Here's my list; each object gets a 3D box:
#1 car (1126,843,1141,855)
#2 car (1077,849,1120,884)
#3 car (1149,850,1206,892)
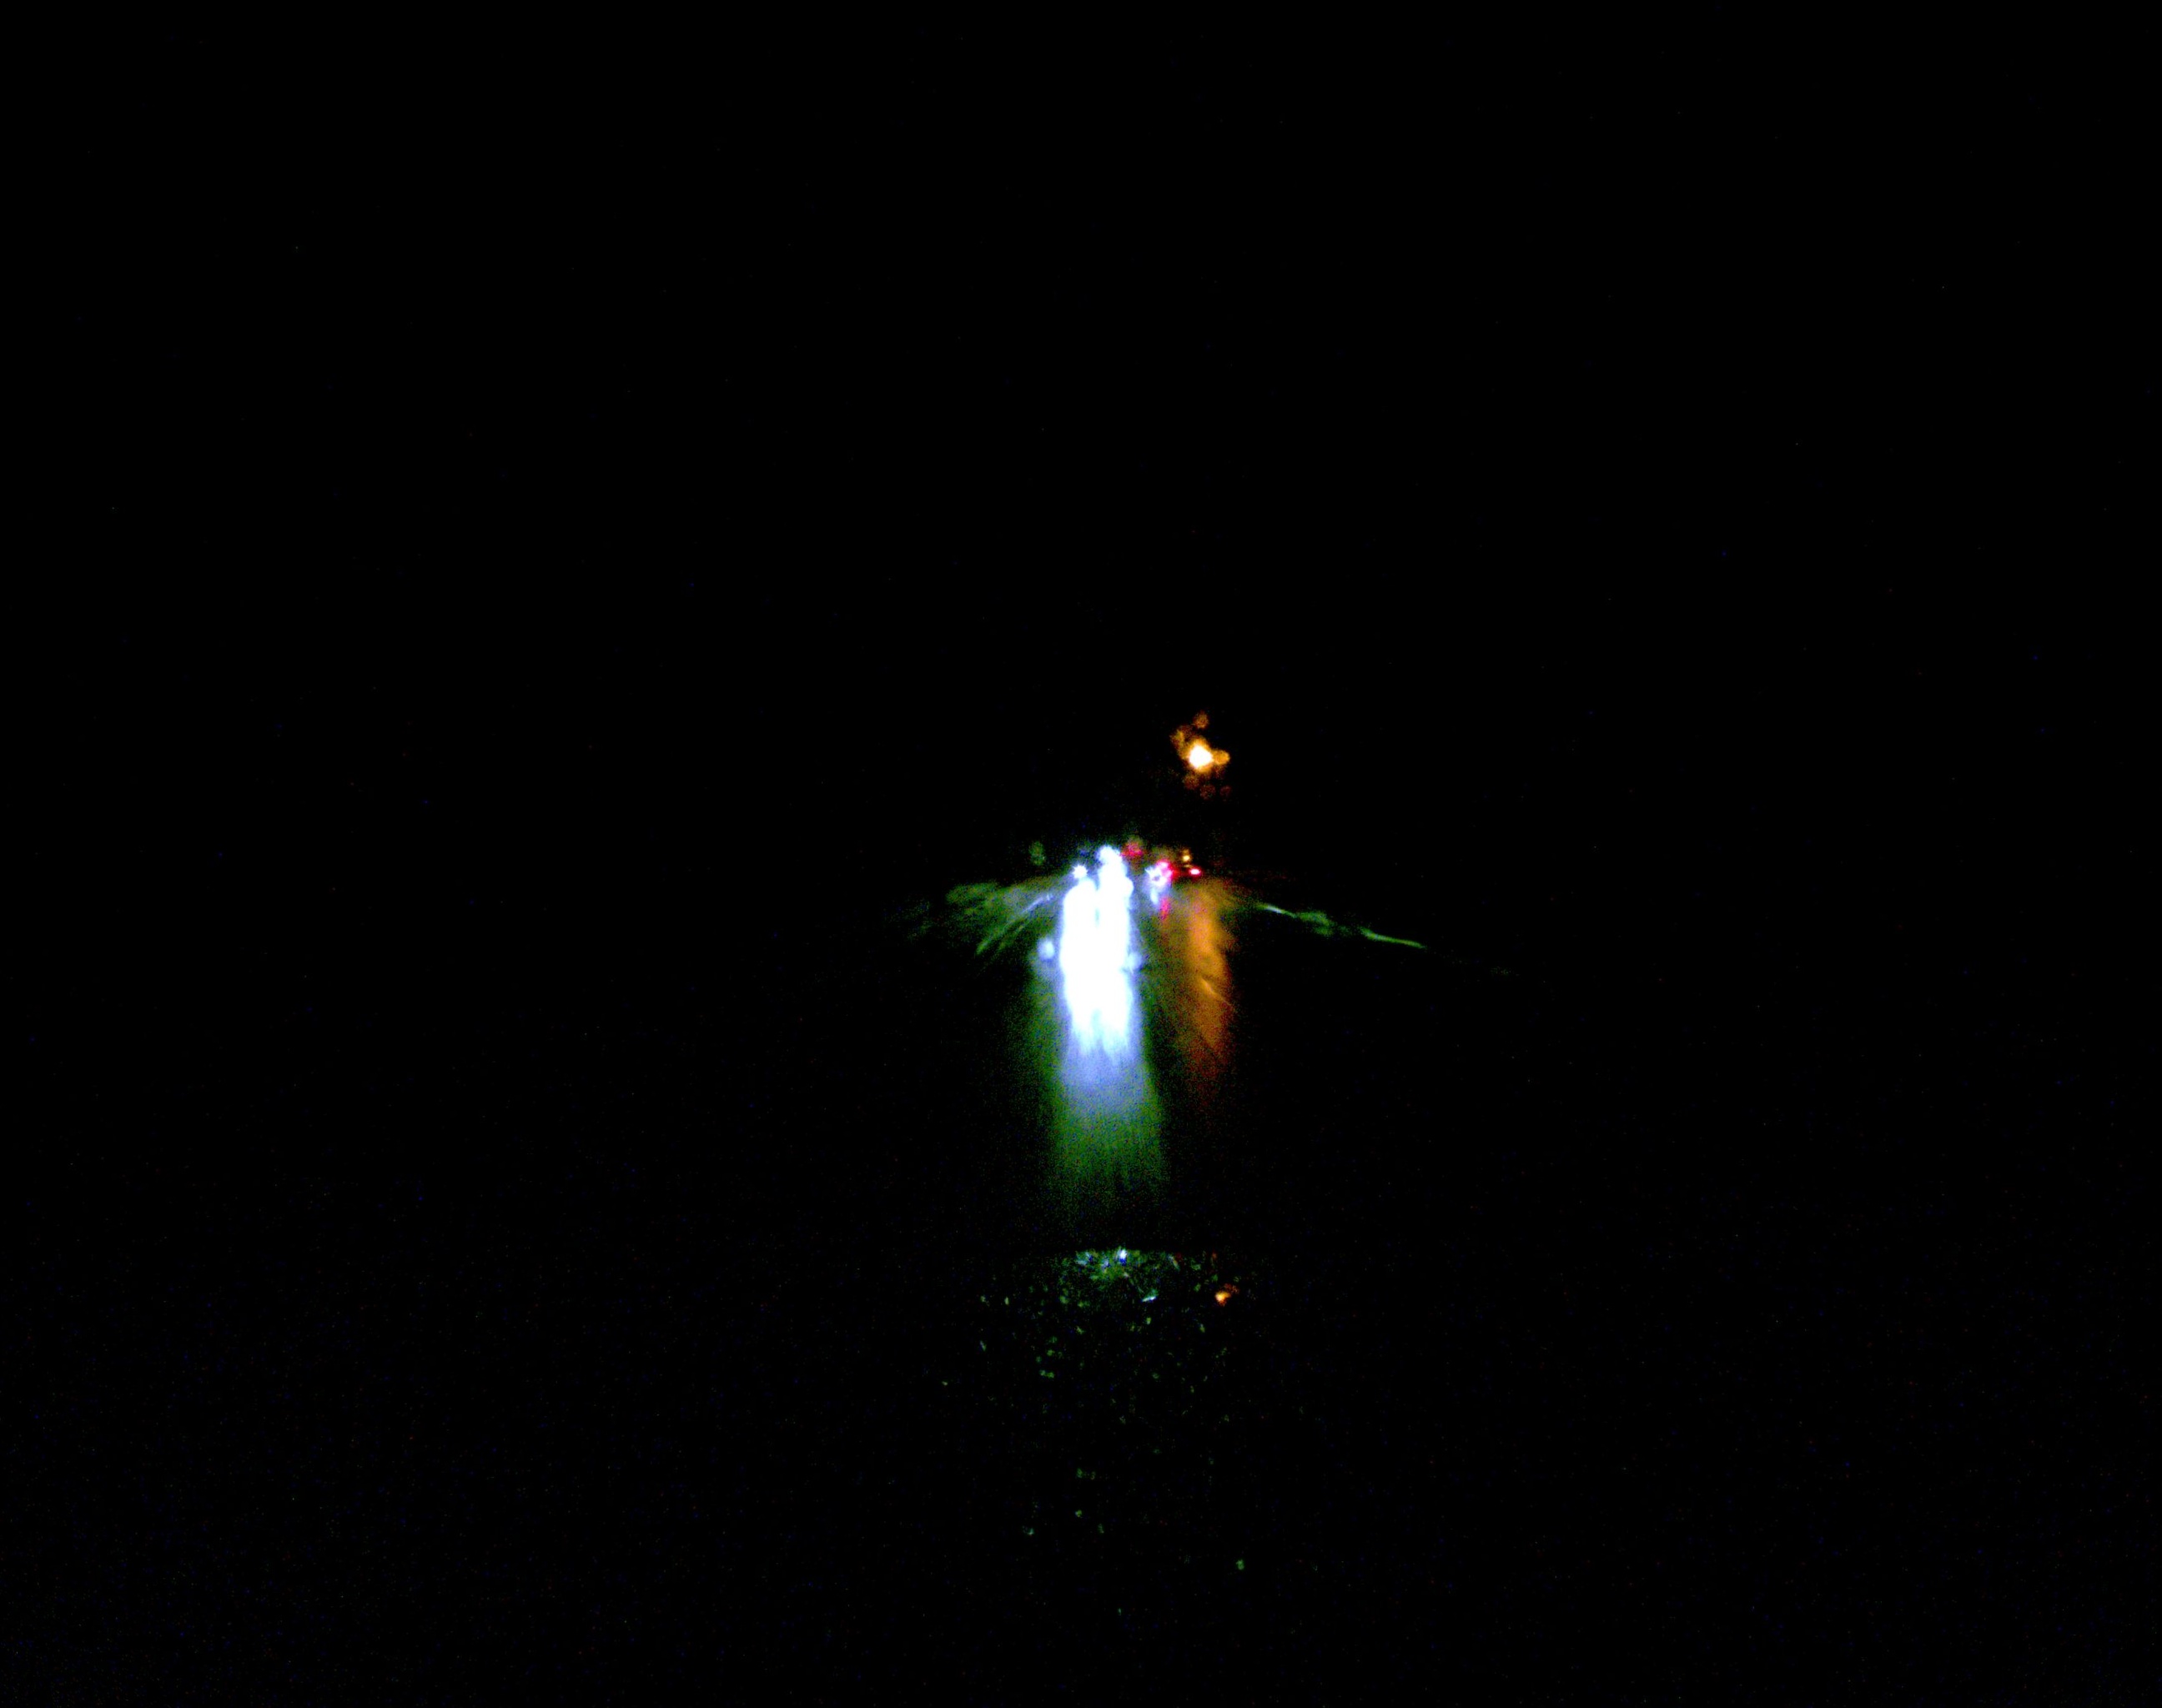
[{"bbox_3d":[6.860,-0.663,99.149,1.805,1.484,3.867,-2,2,3],"label":"car"},{"bbox_3d":[0.885,0.683,38.960,1.944,1.580,4.777,-3,-1,1],"label":"car"},{"bbox_3d":[3.923,0.638,31.441,1.919,1.467,4.203,-3,1,2],"label":"car"}]
